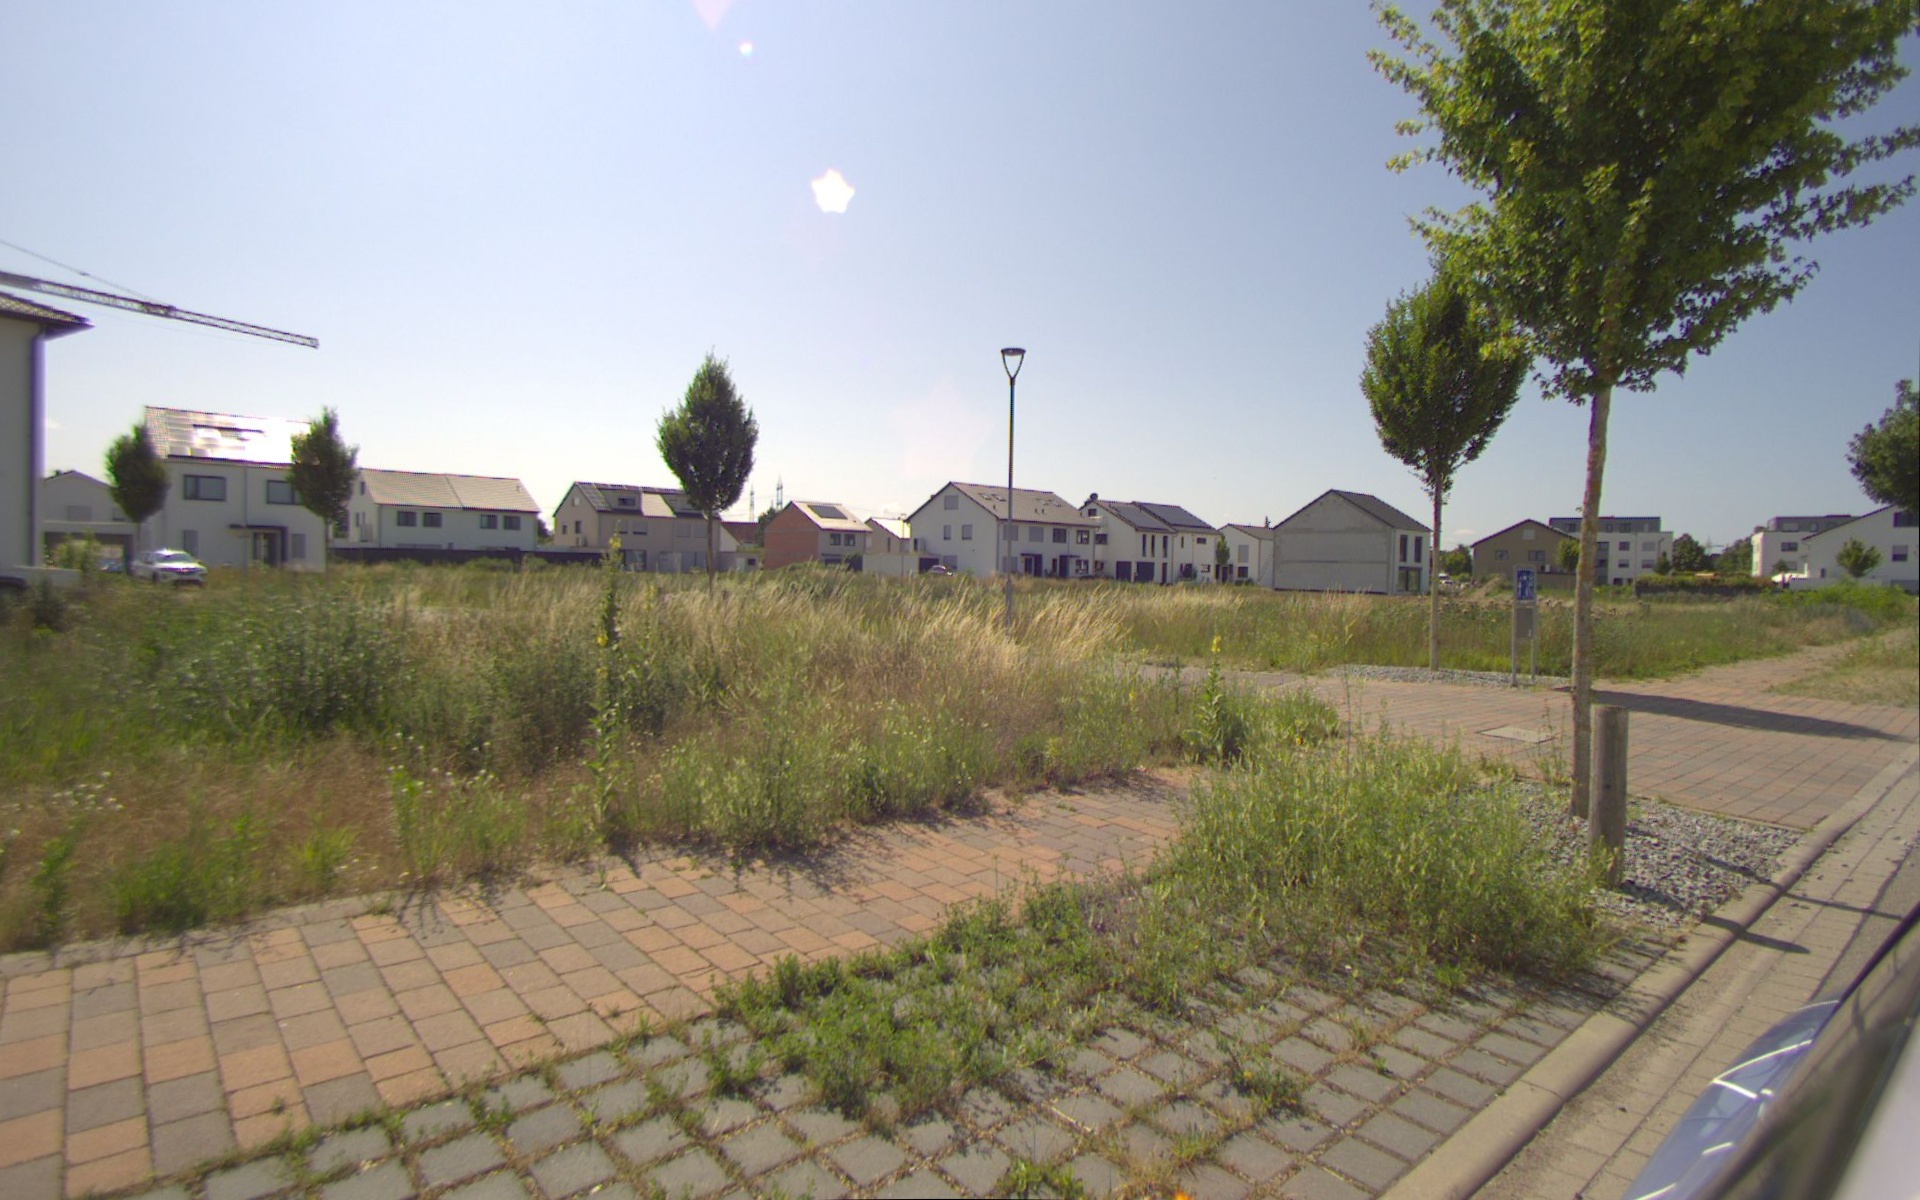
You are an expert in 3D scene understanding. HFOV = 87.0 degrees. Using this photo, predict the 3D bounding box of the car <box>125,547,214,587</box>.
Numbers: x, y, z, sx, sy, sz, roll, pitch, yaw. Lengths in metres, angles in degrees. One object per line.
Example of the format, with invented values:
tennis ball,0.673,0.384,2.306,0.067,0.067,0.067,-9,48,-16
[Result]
car,-30.082,-1.272,38.497,3.808,1.460,1.720,2,2,36
